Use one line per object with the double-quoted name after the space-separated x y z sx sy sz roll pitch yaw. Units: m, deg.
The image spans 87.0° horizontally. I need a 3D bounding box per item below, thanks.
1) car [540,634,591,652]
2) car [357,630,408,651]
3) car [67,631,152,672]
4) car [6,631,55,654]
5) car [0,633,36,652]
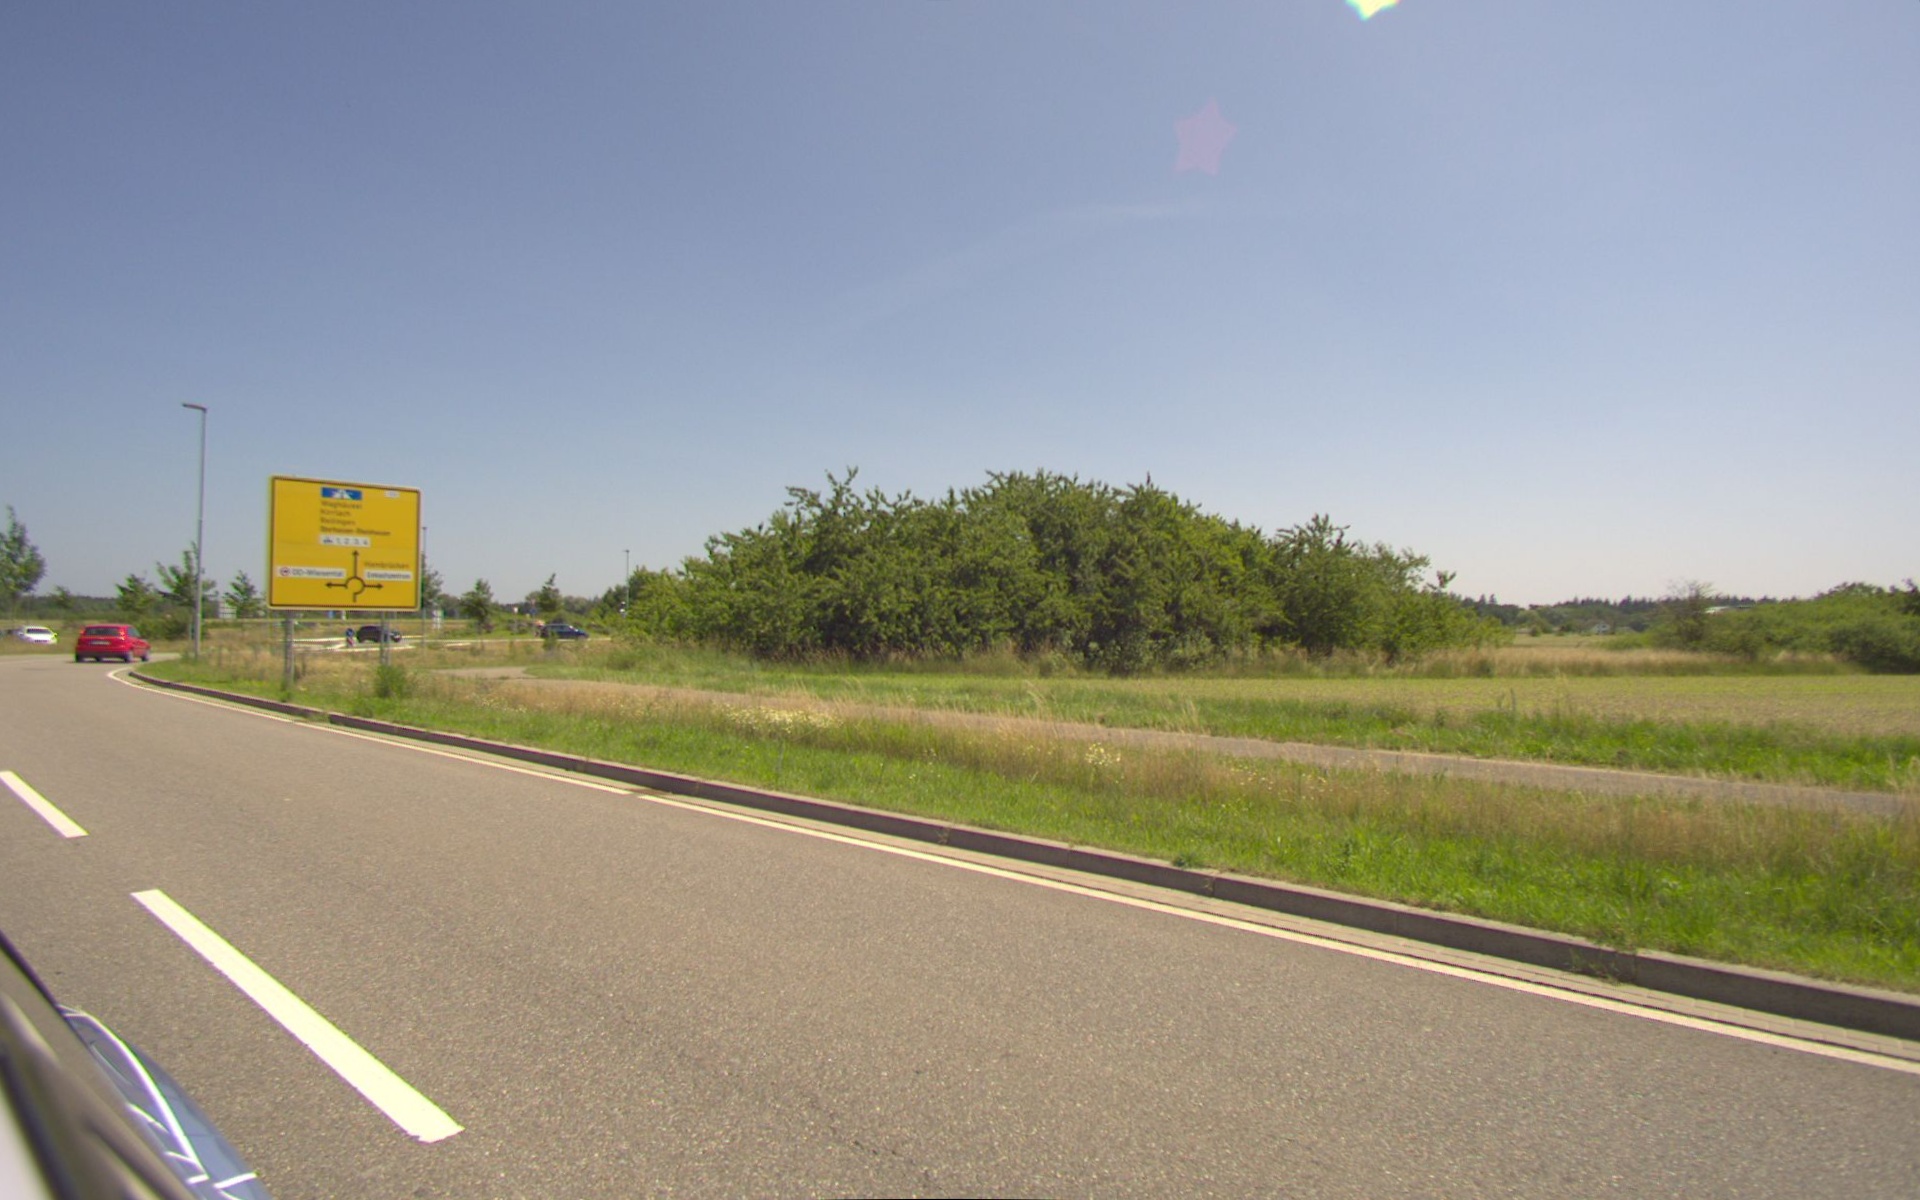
-36.159 3.970 92.768 4.083 1.573 1.726 0 -1 -11 "car"
-53.058 3.701 93.047 4.495 1.836 1.853 0 -1 26 "car"
-32.404 1.951 38.647 1.632 1.444 3.748 2 -3 -27 "car"
-60.545 2.726 65.901 3.995 1.439 1.725 -1 -2 39 "car"
-67.982 3.034 72.465 3.989 1.321 1.727 -1 -2 34 "car"
